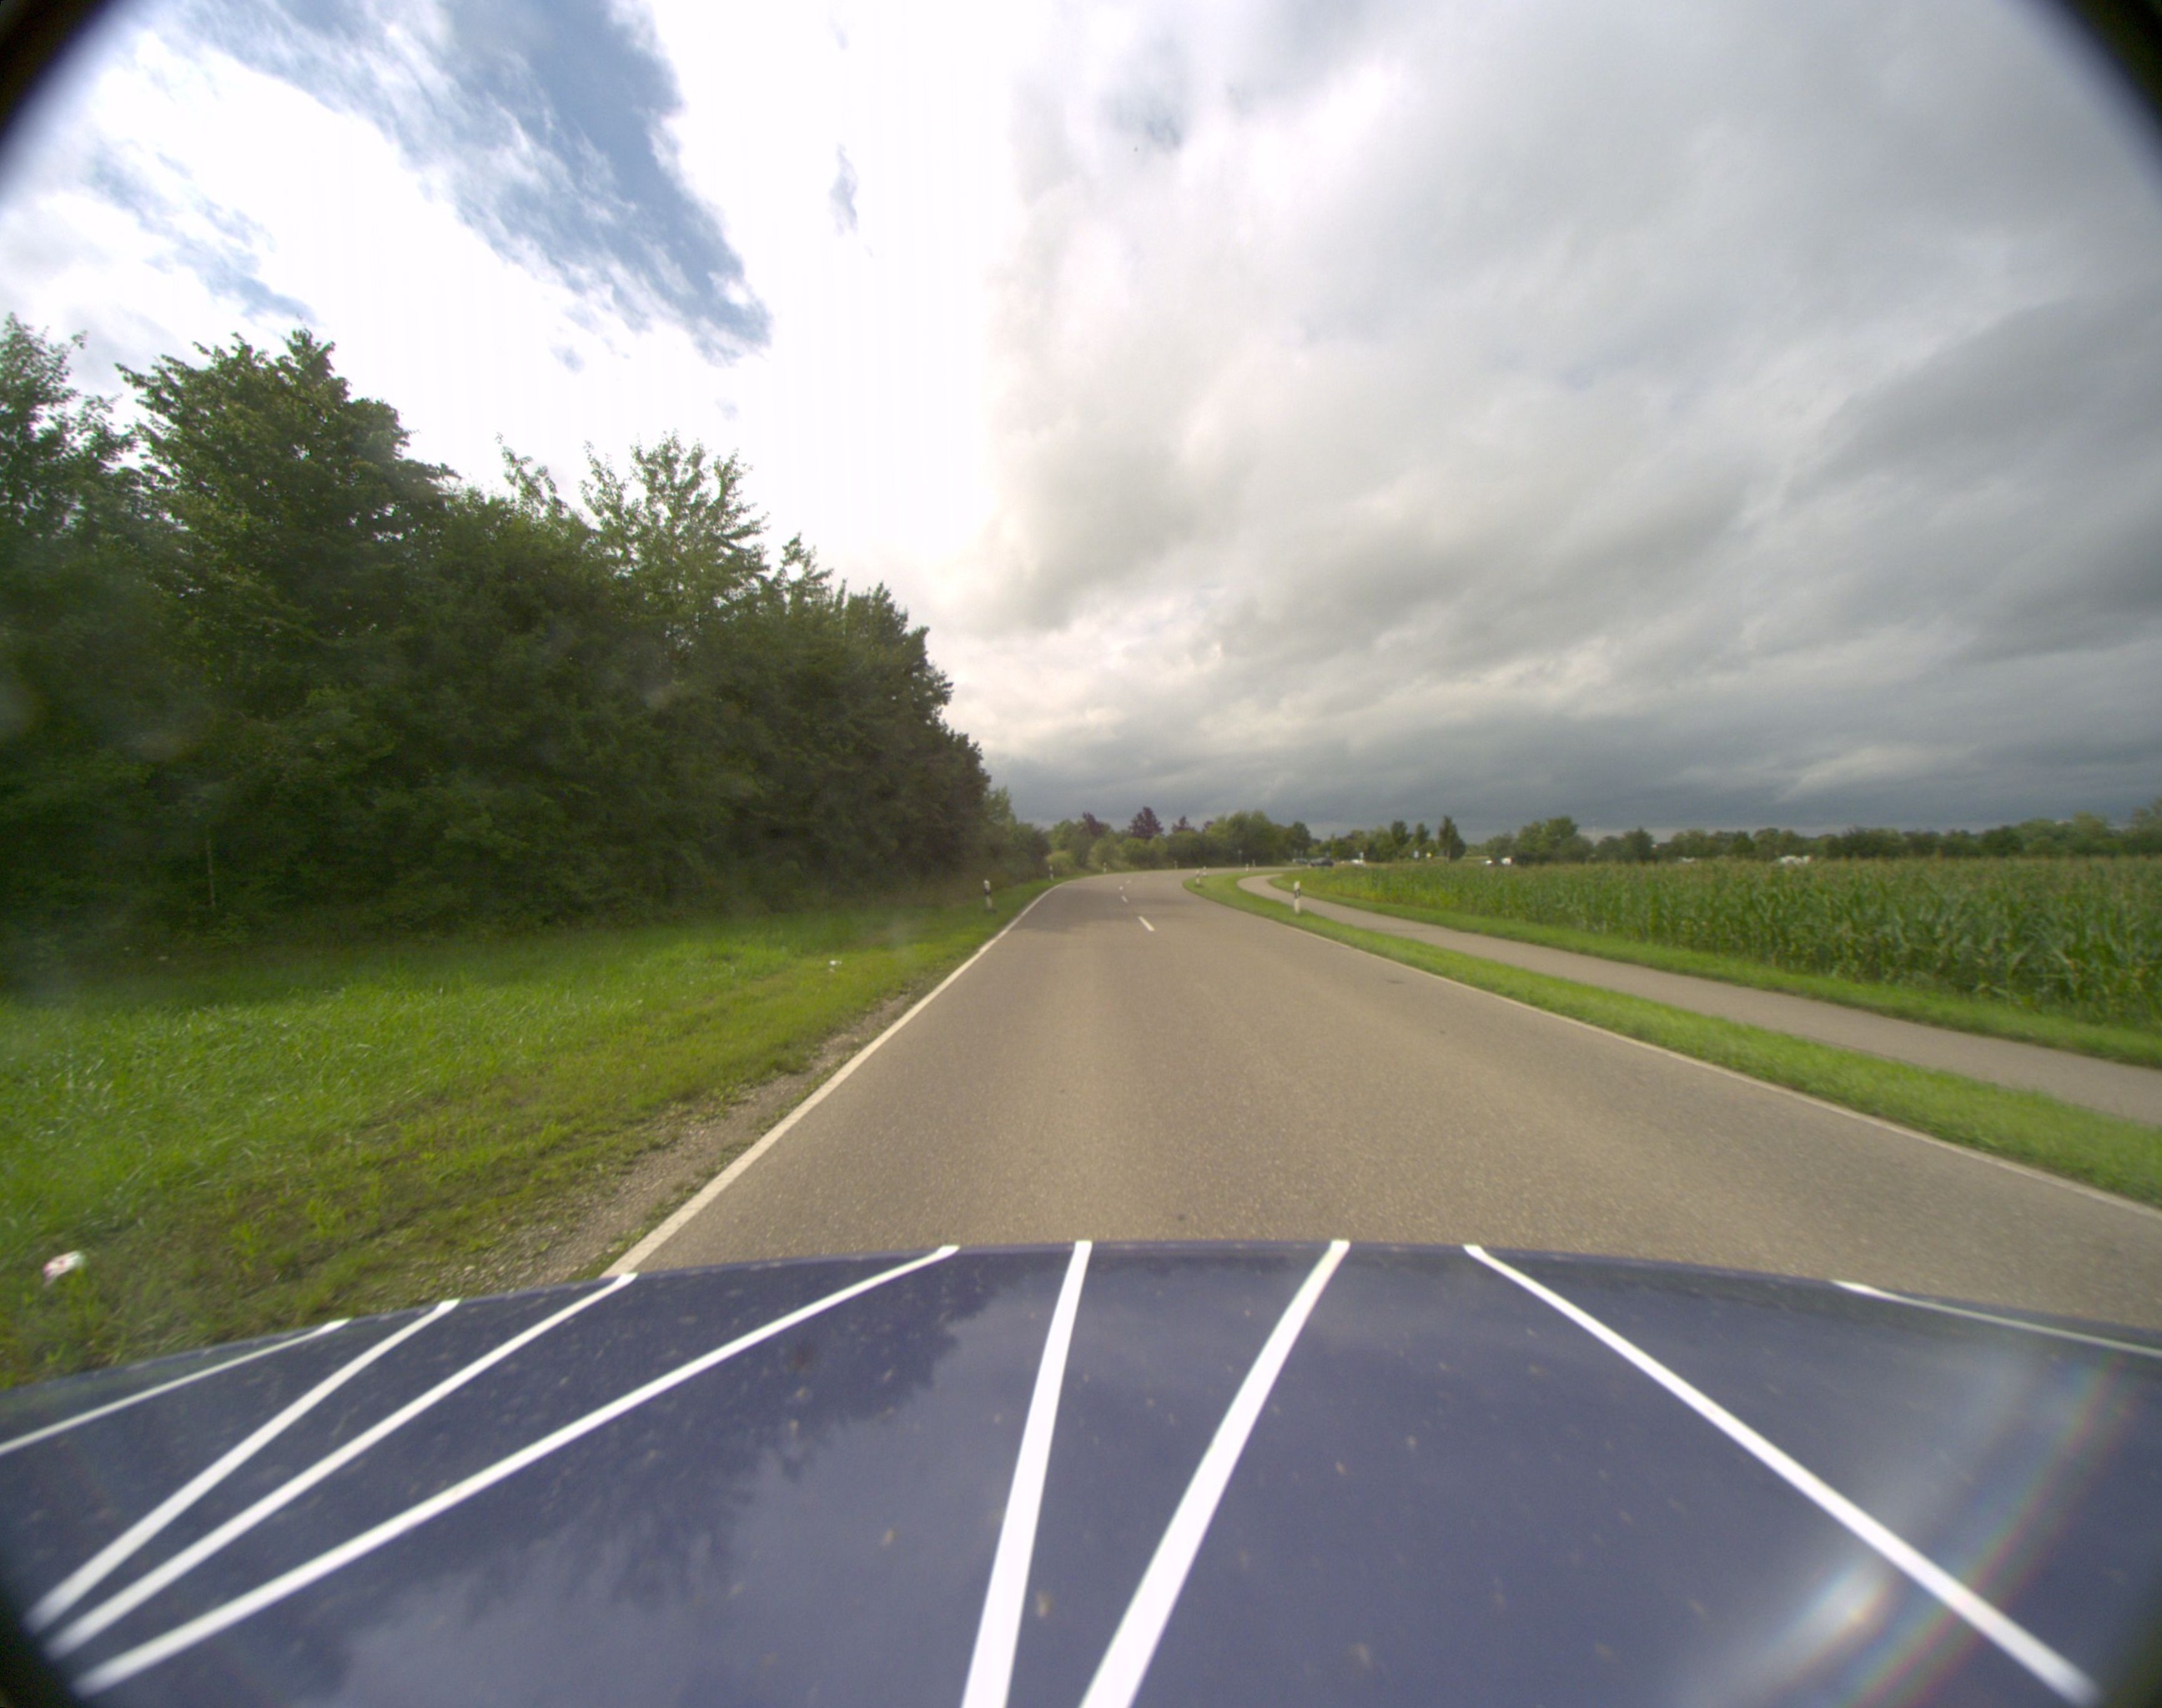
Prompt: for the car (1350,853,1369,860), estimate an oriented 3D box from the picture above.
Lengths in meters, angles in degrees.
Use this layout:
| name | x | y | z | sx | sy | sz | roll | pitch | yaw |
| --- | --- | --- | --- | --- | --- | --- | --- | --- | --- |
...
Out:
| name | x | y | z | sx | sy | sz | roll | pitch | yaw |
| --- | --- | --- | --- | --- | --- | --- | --- | --- | --- |
| car | 69.802 | 0.602 | 190.567 | 3.988 | 1.849 | 2.004 | 1 | 1 | 41 |
